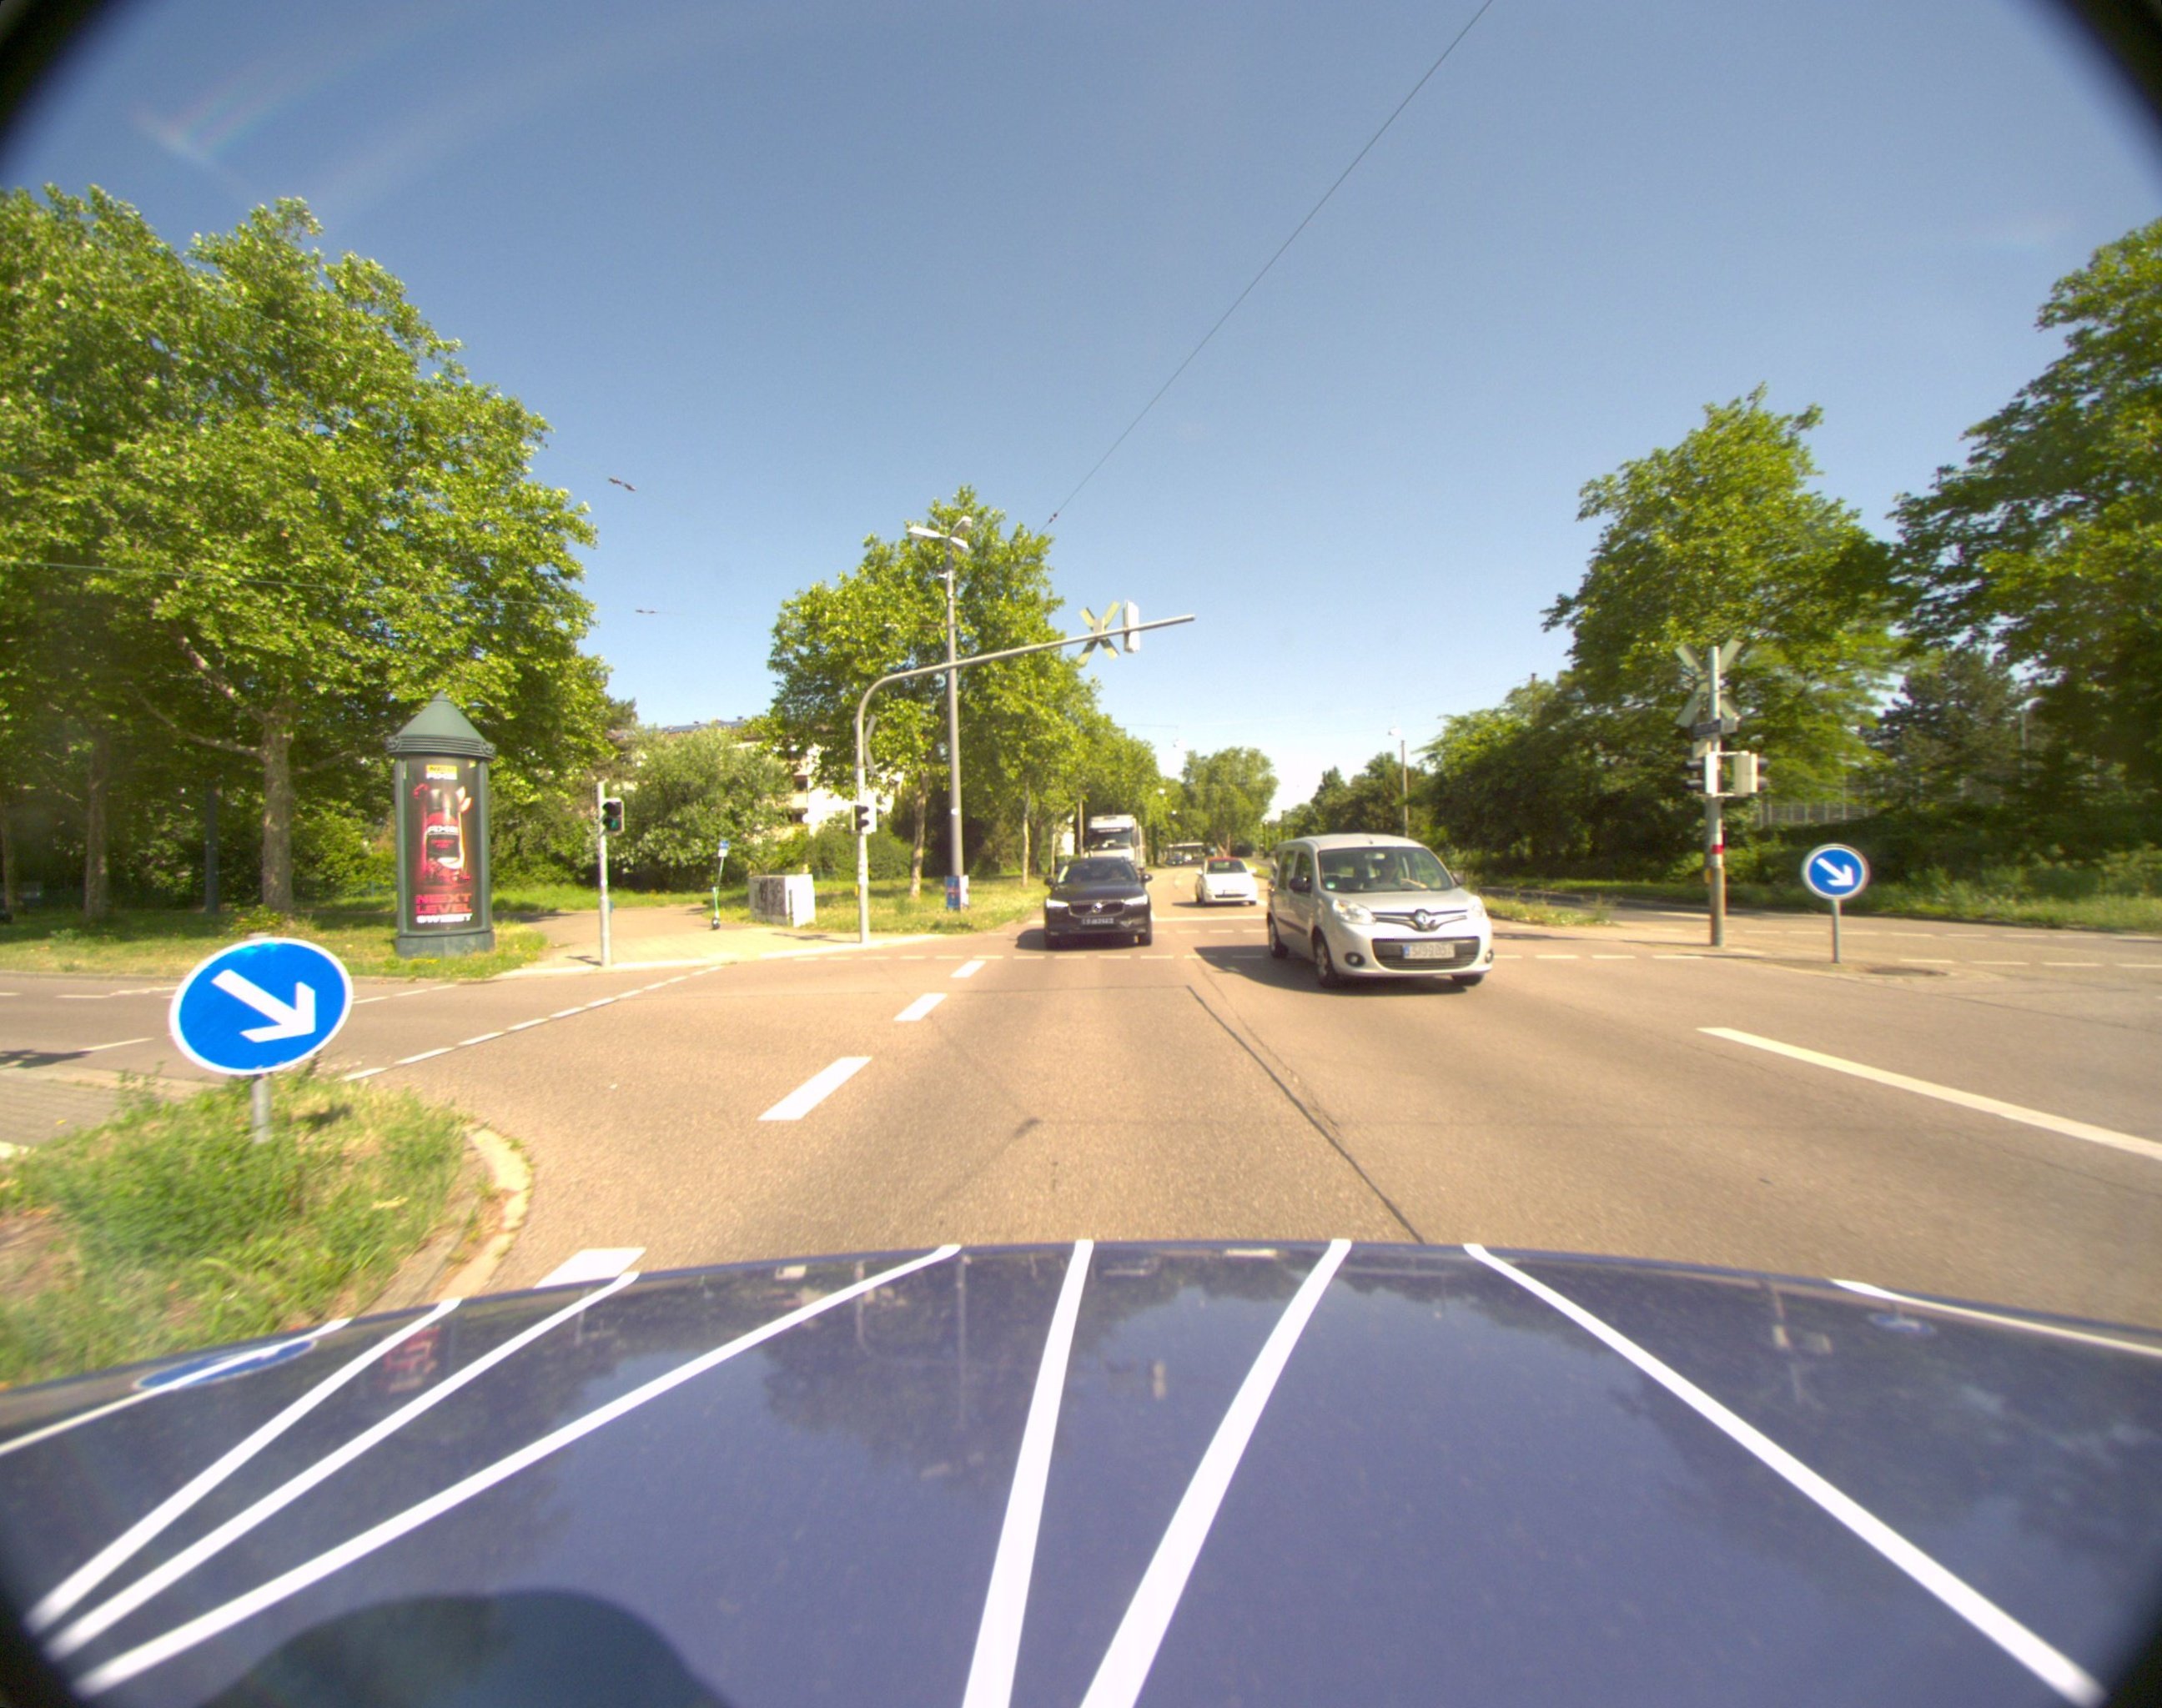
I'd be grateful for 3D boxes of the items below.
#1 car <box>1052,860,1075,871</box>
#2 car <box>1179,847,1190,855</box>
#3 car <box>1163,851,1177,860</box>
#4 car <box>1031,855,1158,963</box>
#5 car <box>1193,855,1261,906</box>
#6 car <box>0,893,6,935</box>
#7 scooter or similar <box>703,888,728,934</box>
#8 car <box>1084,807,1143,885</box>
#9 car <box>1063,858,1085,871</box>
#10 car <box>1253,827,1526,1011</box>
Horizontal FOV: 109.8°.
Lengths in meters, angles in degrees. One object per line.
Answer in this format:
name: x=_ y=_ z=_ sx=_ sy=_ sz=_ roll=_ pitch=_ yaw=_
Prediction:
car: x=-2.161 y=1.406 z=94.428 sx=1.504 sy=1.364 sz=4.095 roll=-2 pitch=0 yaw=19
car: x=26.347 y=-0.734 z=193.243 sx=1.996 sy=2.001 sz=4.005 roll=-2 pitch=-1 yaw=16
car: x=19.663 y=0.333 z=167.599 sx=1.996 sy=2.002 sz=4.006 roll=-2 pitch=0 yaw=19
car: x=0.361 y=0.879 z=14.312 sx=1.904 sy=1.605 sz=4.874 roll=-3 pitch=0 yaw=3
car: x=4.640 y=0.792 z=24.664 sx=1.688 sy=1.482 sz=4.377 roll=-2 pitch=0 yaw=5
car: x=-40.217 y=2.207 z=25.468 sx=1.996 sy=1.482 sz=4.359 roll=-2 pitch=0 yaw=15
scooter or similar: x=-10.014 y=1.550 z=20.854 sx=0.517 sy=1.135 sz=1.443 roll=-3 pitch=1 yaw=-24
car: x=1.927 y=-0.399 z=42.169 sx=2.902 sy=3.897 sz=7.144 roll=-1 pitch=0 yaw=5
car: x=-0.875 y=1.409 z=99.826 sx=1.504 sy=1.633 sz=4.095 roll=-2 pitch=0 yaw=19
car: x=3.603 y=0.677 z=9.842 sx=1.876 sy=1.829 sz=4.376 roll=-1 pitch=0 yaw=2
